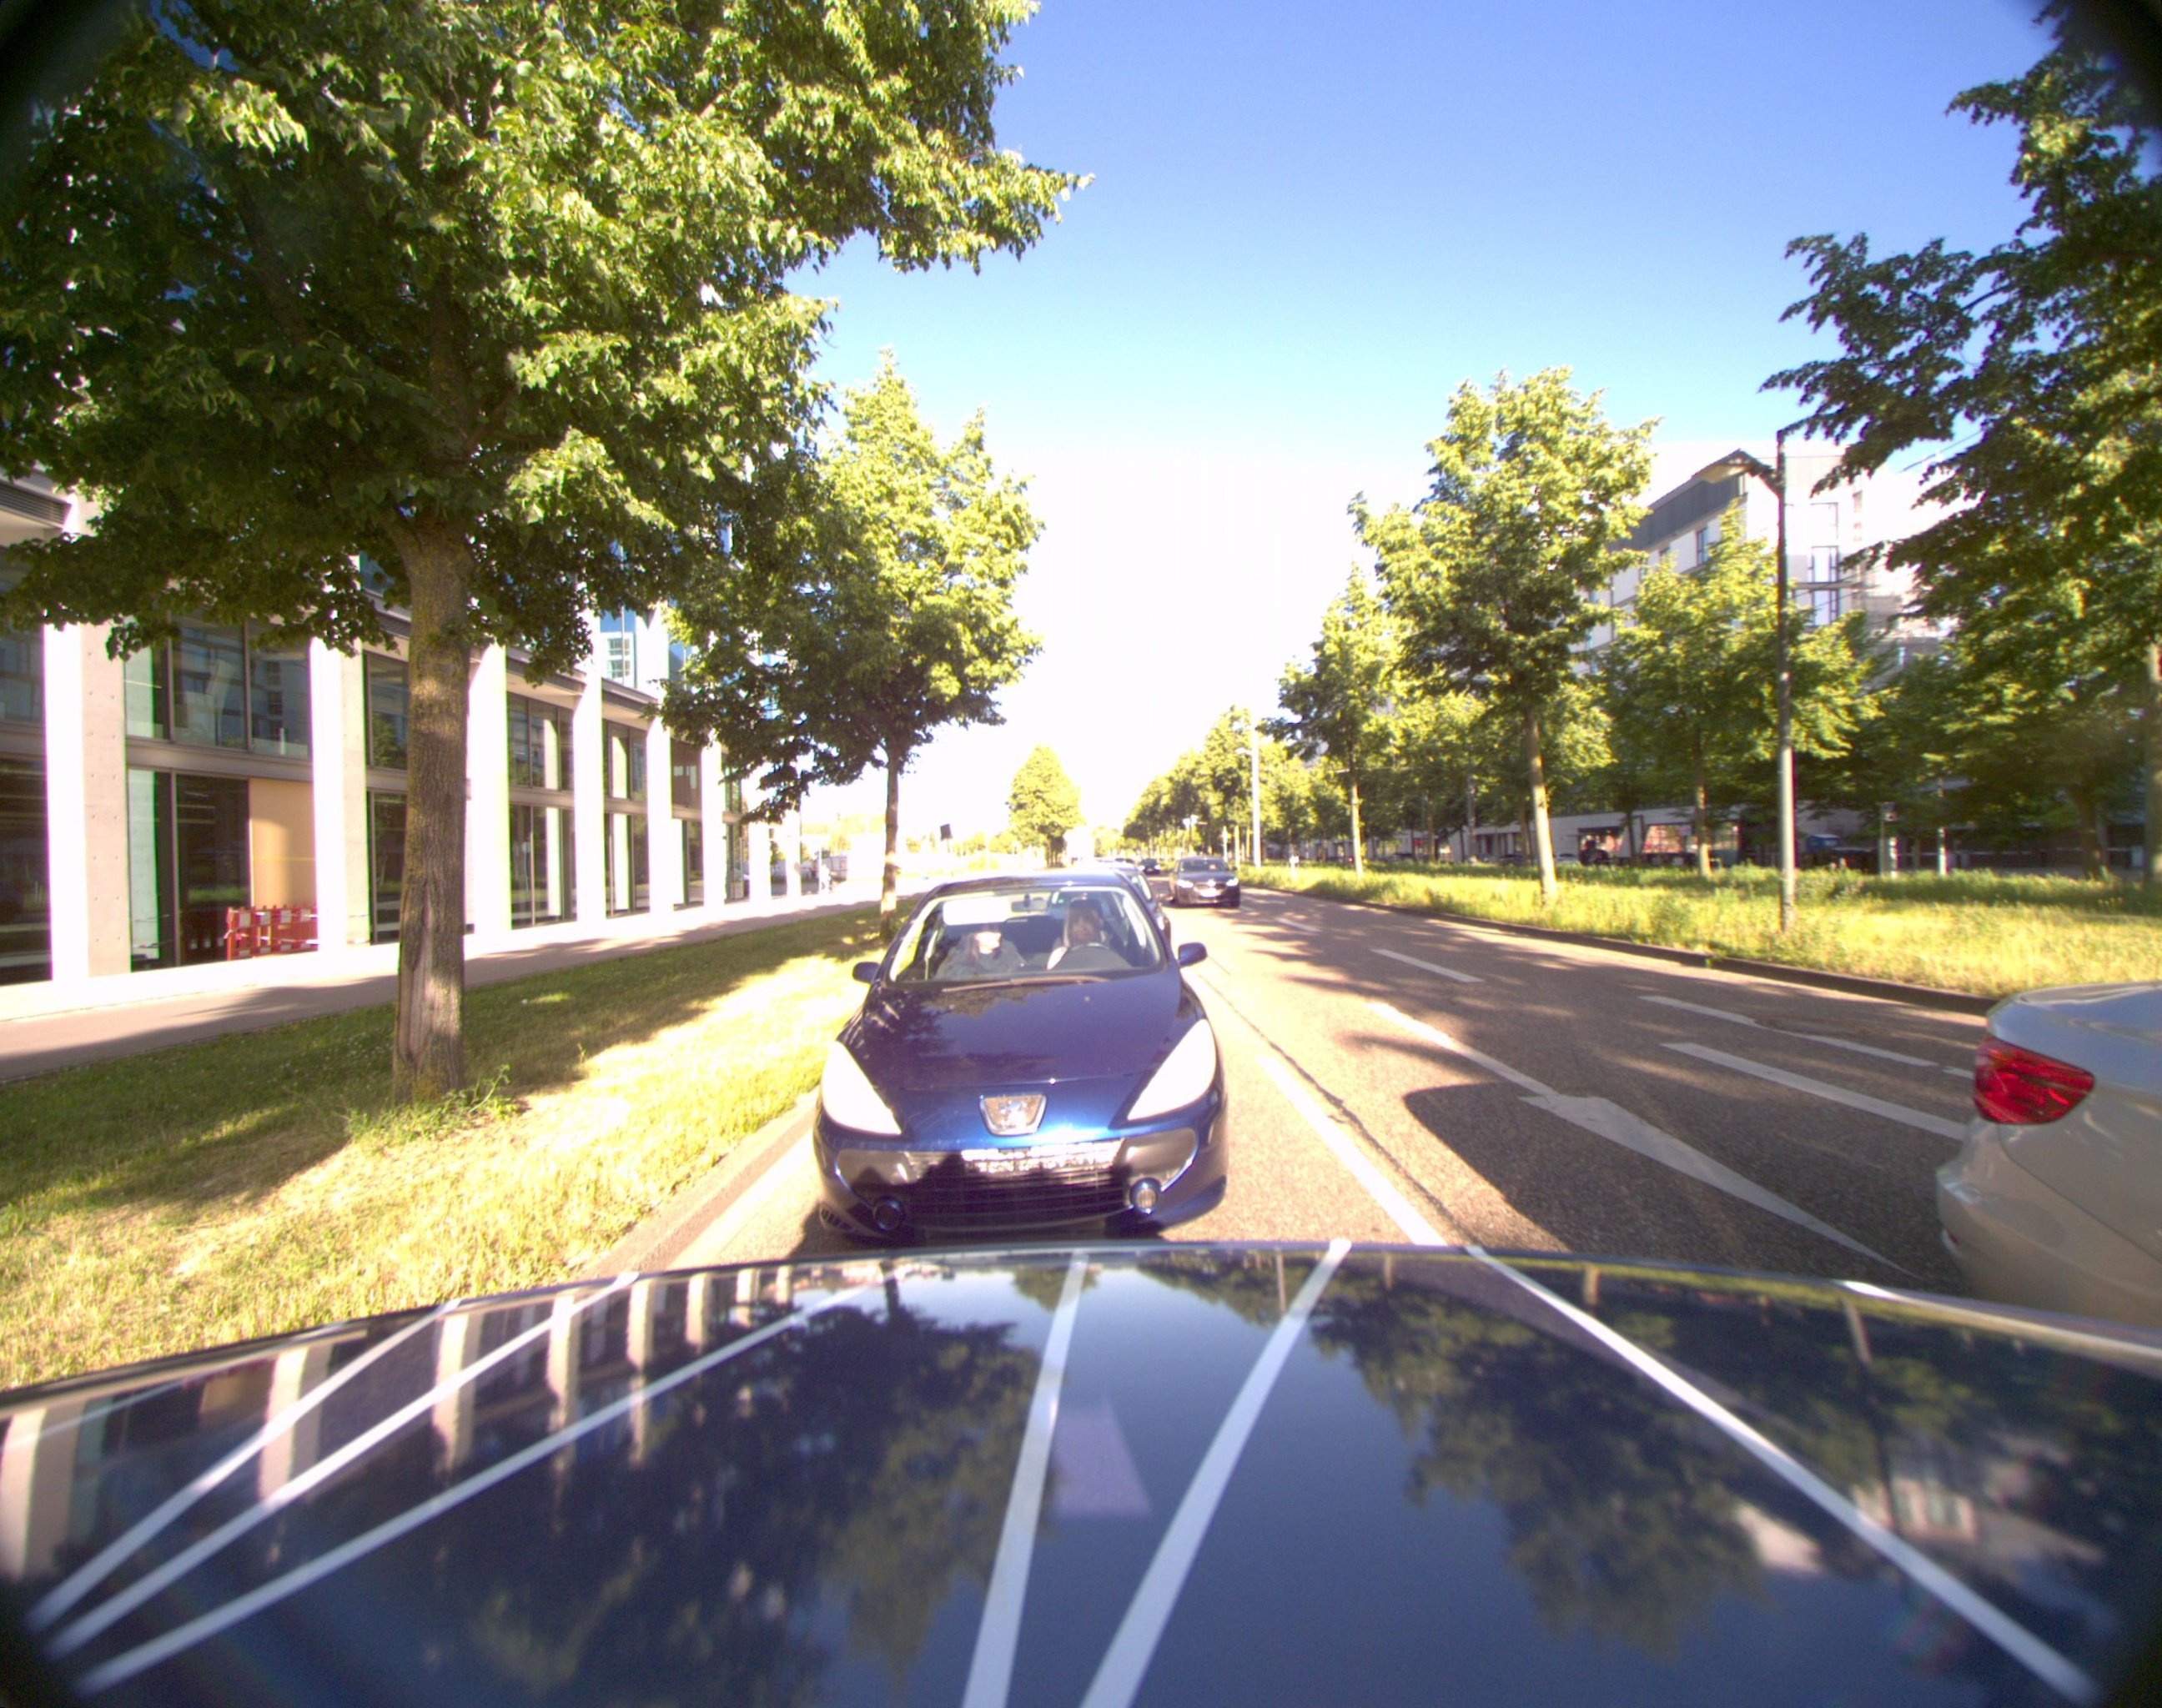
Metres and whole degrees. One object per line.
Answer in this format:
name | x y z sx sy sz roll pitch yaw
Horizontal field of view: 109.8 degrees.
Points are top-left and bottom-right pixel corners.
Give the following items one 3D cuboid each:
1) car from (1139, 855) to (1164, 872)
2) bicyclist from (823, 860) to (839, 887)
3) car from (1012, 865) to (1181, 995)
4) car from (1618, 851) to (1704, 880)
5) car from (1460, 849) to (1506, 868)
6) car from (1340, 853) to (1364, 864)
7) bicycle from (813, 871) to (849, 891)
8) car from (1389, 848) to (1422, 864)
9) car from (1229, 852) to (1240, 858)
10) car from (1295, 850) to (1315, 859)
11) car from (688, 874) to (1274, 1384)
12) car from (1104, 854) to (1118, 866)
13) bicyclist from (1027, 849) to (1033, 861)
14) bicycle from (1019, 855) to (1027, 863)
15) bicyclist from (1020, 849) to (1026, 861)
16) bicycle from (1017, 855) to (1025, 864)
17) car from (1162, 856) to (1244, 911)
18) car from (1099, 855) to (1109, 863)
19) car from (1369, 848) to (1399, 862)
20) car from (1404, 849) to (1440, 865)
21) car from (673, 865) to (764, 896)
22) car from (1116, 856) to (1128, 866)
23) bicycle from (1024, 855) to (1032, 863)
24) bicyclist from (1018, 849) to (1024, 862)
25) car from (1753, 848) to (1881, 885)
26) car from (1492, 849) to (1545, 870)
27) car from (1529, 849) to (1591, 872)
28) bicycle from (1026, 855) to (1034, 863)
car | 6.072 0.802 65.735 1.878 1.415 4.344 -1 0 2
bicyclist | -14.608 1.136 44.359 0.698 1.530 0.592 1 0 7
car | 0.214 0.951 11.455 1.998 1.437 4.622 -1 0 1
car | 34.496 0.654 45.365 1.951 1.588 4.184 -1 0 1
car | 35.142 0.363 66.516 1.884 1.588 4.184 -1 0 1
car | 35.398 0.549 99.320 1.998 1.387 4.001 -1 0 4
bicycle | -14.616 1.584 44.366 1.925 1.149 0.592 0 0 7
car | 35.428 0.197 83.106 1.884 1.588 4.184 -1 0 1
car | 36.089 0.175 179.234 1.998 1.387 4.001 -1 0 4
car | 36.590 0.013 124.155 1.998 1.387 4.000 -1 0 1
car | -0.293 0.953 4.688 1.846 1.473 4.481 -2 0 1
car | 3.795 0.750 96.088 1.724 1.516 4.000 -1 0 1
bicyclist | -8.866 0.123 131.840 0.931 2.045 1.121 -1 1 1
bicycle | -10.017 0.887 131.852 0.931 1.355 4.000 -1 0 1
bicyclist | -10.015 0.198 131.582 0.931 2.045 1.121 -1 1 1
bicycle | -10.075 0.929 127.466 0.931 1.355 4.000 -1 0 1
car | 3.594 0.830 23.116 1.861 1.482 4.000 -1 0 1
car | 4.576 1.054 152.669 1.878 1.561 4.344 -1 0 2
car | 35.485 0.141 89.027 1.884 1.588 4.184 -1 0 1
car | 35.016 0.267 78.198 1.884 1.588 4.184 -1 0 1
car | -20.052 1.431 42.146 3.996 1.569 2.000 -1 0 3
car | 6.998 1.186 129.298 1.878 1.577 4.344 -1 0 2
bicycle | -8.896 0.852 127.774 0.931 1.355 4.000 -1 0 1
bicyclist | -10.083 0.239 127.478 0.931 2.045 1.121 -1 1 1
car | 34.076 0.539 35.354 1.951 1.588 4.184 -1 0 1
car | 35.176 0.408 61.233 1.884 1.588 4.184 -1 0 1
car | 34.888 0.475 55.474 1.884 1.588 4.184 -1 0 1
bicycle | -8.866 0.813 131.929 0.931 1.355 4.000 -1 0 1
